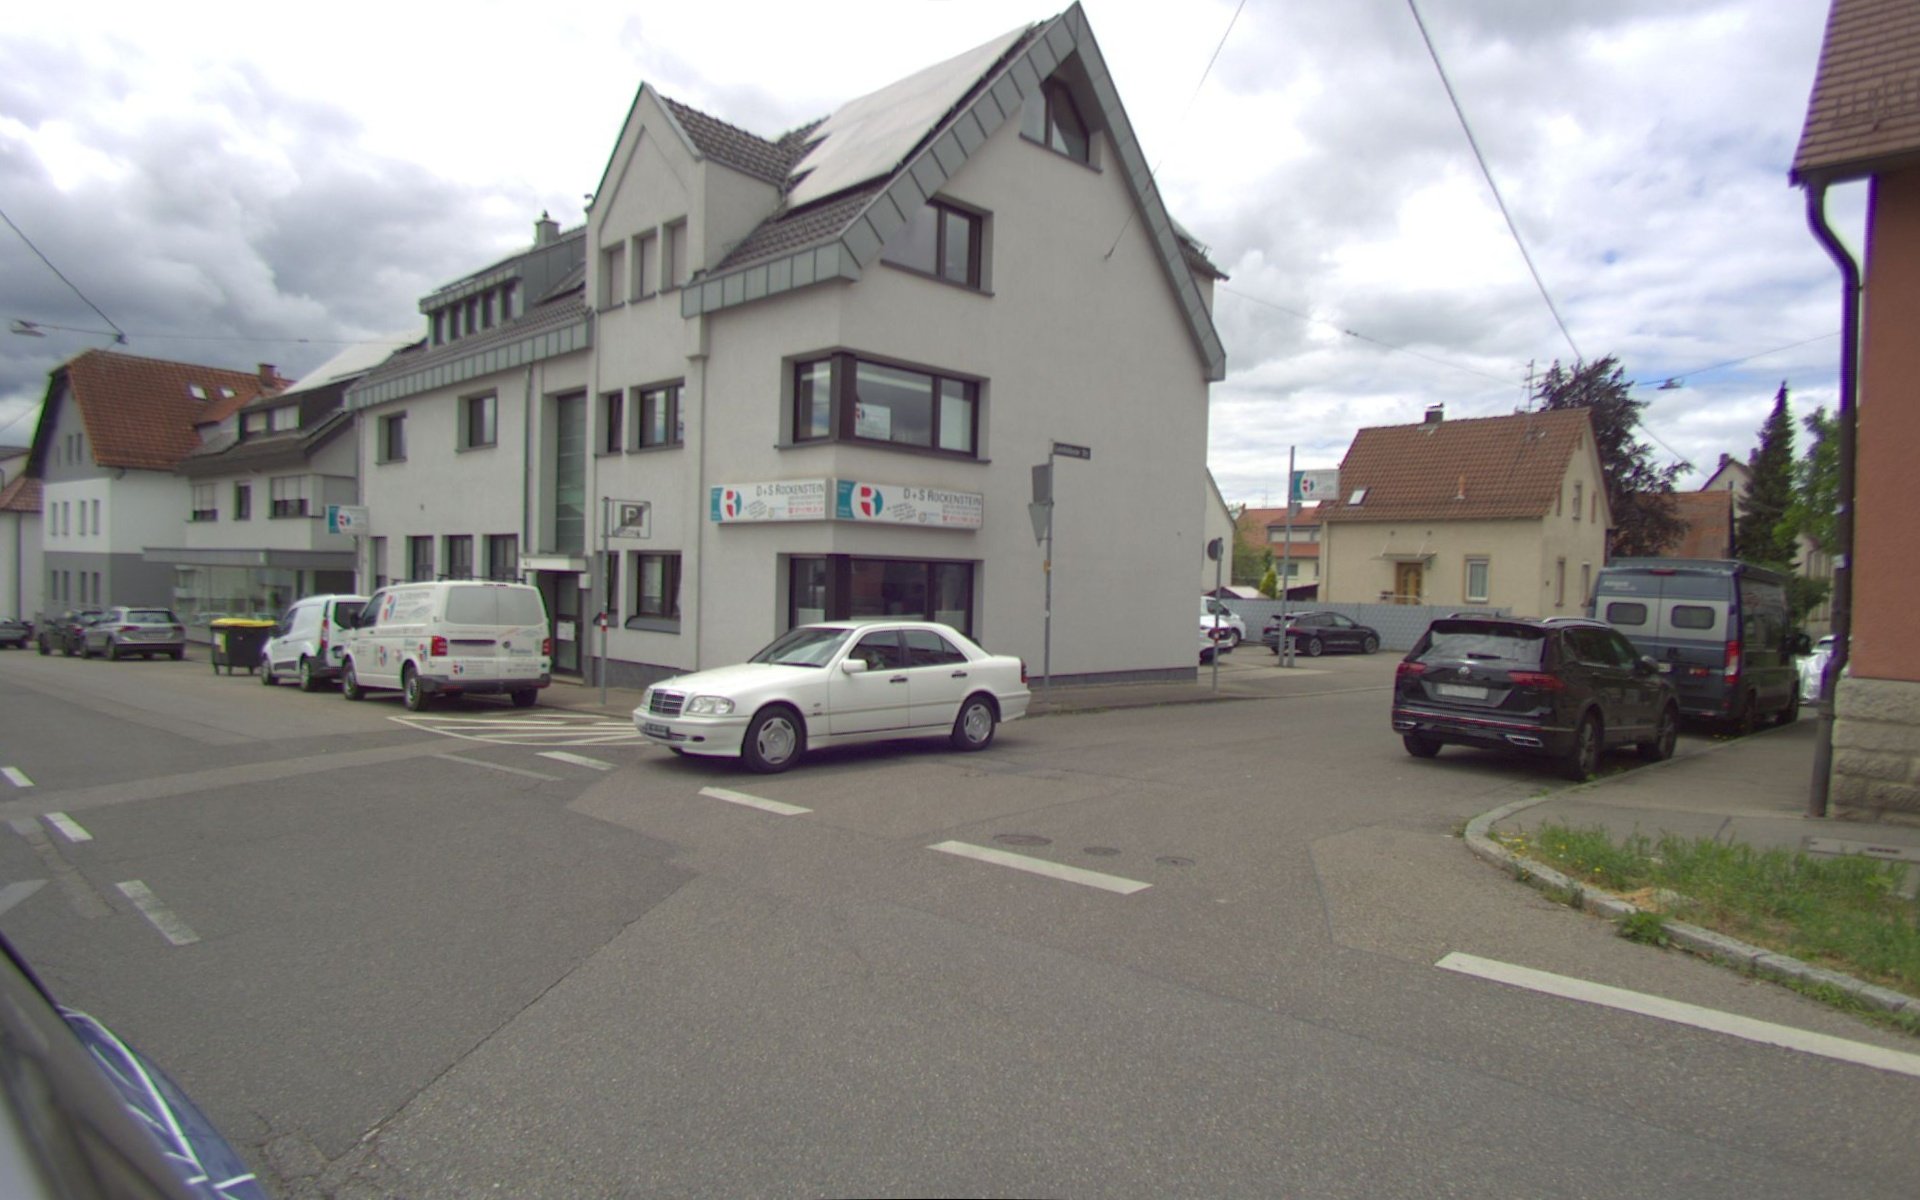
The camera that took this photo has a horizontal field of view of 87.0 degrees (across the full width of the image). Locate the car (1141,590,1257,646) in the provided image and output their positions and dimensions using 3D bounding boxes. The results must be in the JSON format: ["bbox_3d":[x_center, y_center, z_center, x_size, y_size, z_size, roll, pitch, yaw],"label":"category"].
[{"bbox_3d":[9.059,0.645,38.323,3.988,1.935,1.810,-1,2,-24],"label":"car"}]

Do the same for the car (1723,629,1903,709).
[{"bbox_3d":[19.120,1.448,22.608,4.757,1.519,2.275,1,-1,-40],"label":"car"}]

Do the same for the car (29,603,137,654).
[{"bbox_3d":[-30.411,0.976,35.064,4.398,1.645,1.821,-1,-2,35],"label":"car"}]

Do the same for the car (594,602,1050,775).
[{"bbox_3d":[-1.289,0.816,10.828,4.499,1.456,2.002,2,-2,-43],"label":"car"}]

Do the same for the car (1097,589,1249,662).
[{"bbox_3d":[5.944,0.649,28.595,1.870,1.864,3.912,0,1,-39],"label":"car"}]

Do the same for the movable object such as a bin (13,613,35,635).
[{"bbox_3d":[-47.675,1.219,51.556,0.757,1.053,0.671,0,2,35],"label":"movable object such as a bin"}]

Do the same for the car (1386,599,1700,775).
[{"bbox_3d":[6.655,0.900,11.384,3.995,1.602,1.806,4,-2,-41],"label":"car"}]

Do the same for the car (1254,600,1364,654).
[{"bbox_3d":[11.925,0.869,34.476,3.995,1.602,1.806,-2,2,-41],"label":"car"}]

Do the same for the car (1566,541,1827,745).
[{"bbox_3d":[11.982,0.499,16.335,4.874,2.795,2.275,-3,2,-40],"label":"car"}]

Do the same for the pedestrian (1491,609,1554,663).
[{"bbox_3d":[17.754,1.135,31.939,1.277,1.599,1.059,3,0,-14],"label":"pedestrian"}]

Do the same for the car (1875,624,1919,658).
[{"bbox_3d":[64.954,2.796,70.075,3.939,2.028,2.003,-3,2,-42],"label":"car"}]

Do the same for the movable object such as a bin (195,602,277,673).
[{"bbox_3d":[-17.457,0.882,24.401,1.559,1.645,1.130,-1,-2,35],"label":"movable object such as a bin"}]

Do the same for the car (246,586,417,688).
[{"bbox_3d":[-12.684,0.712,20.323,4.296,1.846,1.715,-1,-2,41],"label":"car"}]

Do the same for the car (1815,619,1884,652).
[{"bbox_3d":[50.837,1.985,57.796,4.758,1.519,2.275,-3,2,-40],"label":"car"}]

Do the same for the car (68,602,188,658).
[{"bbox_3d":[-26.209,0.932,31.850,4.398,1.645,1.821,-1,-2,35],"label":"car"}]

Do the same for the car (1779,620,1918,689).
[{"bbox_3d":[25.357,1.483,28.829,4.758,1.519,2.275,-3,2,-40],"label":"car"}]

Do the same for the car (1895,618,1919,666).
[{"bbox_3d":[37.082,1.577,38.015,4.758,1.519,2.275,-3,2,-40],"label":"car"}]

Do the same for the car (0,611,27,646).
[{"bbox_3d":[-41.758,1.204,43.268,4.457,1.456,1.821,0,-2,35],"label":"car"}]

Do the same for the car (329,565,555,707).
[{"bbox_3d":[-8.615,0.561,16.628,4.764,2.021,1.792,-1,-3,44],"label":"car"}]
